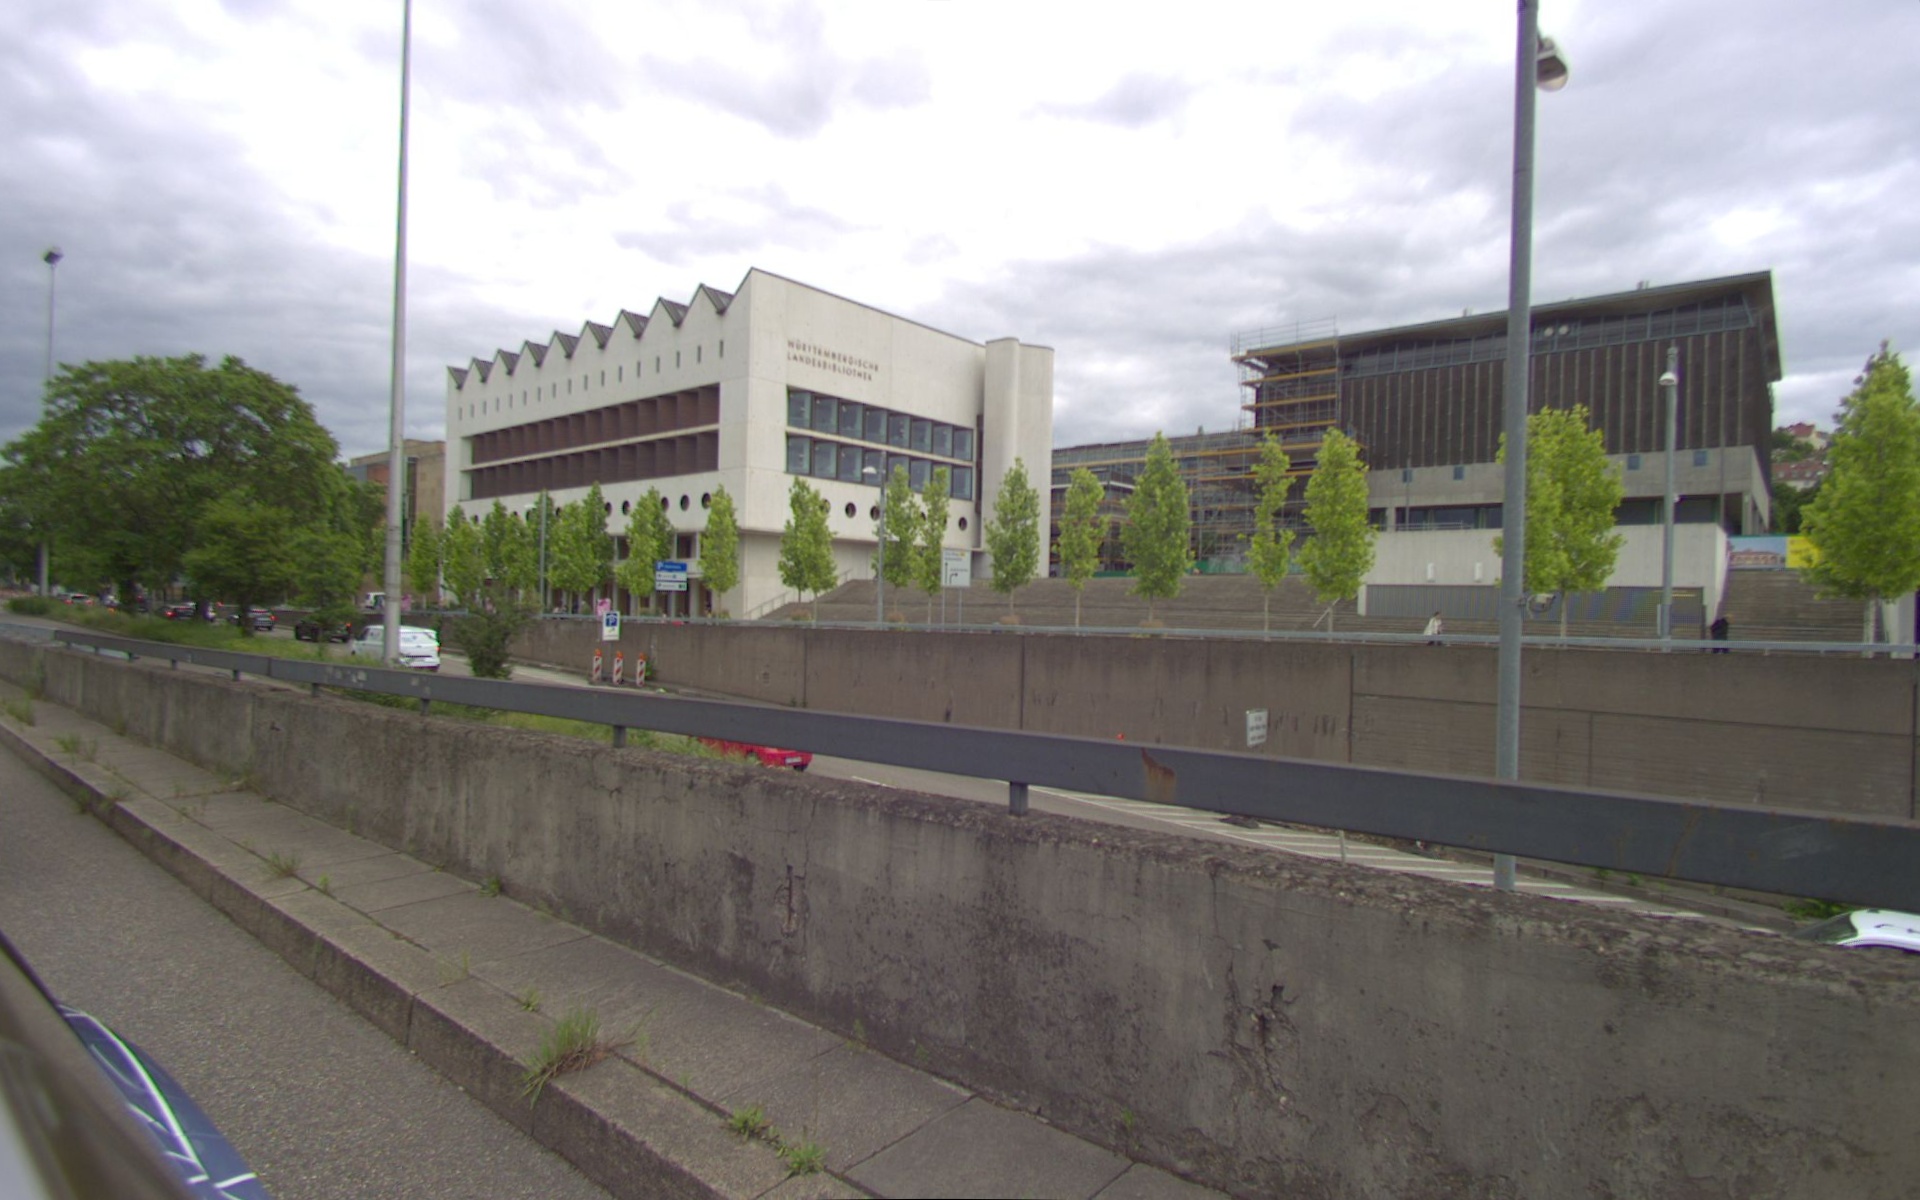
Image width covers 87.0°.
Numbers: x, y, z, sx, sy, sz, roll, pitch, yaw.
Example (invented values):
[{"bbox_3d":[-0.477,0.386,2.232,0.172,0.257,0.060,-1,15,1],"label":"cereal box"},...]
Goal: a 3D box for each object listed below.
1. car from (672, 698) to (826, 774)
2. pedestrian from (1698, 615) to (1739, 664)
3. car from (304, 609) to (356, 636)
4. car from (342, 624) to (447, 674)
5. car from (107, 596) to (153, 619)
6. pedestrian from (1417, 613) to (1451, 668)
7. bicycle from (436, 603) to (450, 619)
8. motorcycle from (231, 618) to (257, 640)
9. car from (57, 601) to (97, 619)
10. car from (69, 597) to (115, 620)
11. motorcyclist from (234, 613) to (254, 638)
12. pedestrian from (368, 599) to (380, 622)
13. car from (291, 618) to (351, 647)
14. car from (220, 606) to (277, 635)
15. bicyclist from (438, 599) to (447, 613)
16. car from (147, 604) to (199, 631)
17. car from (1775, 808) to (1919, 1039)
[{"bbox_3d":[-5.562,3.477,26.430,3.999,1.497,1.972,-1,-2,42],"label":"car"},{"bbox_3d":[25.684,1.334,34.279,0.728,1.655,0.795,0,-2,-21],"label":"pedestrian"},{"bbox_3d":[-44.659,1.587,71.688,3.998,1.776,1.973,0,-3,41],"label":"car"},{"bbox_3d":[-23.935,2.051,42.756,5.246,1.651,1.973,2,-5,40],"label":"car"},{"bbox_3d":[-70.621,0.654,86.123,4.514,1.657,2.133,2,-2,40],"label":"car"},{"bbox_3d":[17.871,1.528,38.170,0.728,2.029,0.795,0,-2,-17],"label":"pedestrian"},{"bbox_3d":[-43.944,0.919,85.965,1.697,1.282,0.398,1,1,39],"label":"bicycle"},{"bbox_3d":[-41.342,1.698,58.421,2.050,1.106,0.678,3,-2,41],"label":"motorcycle"},{"bbox_3d":[-75.494,0.884,86.521,3.998,1.409,1.973,0,-4,41],"label":"car"},{"bbox_3d":[-66.553,0.645,77.575,4.515,1.687,1.973,0,-4,41],"label":"car"},{"bbox_3d":[-41.351,1.456,58.450,0.718,1.362,0.662,3,-3,41],"label":"motorcyclist"},{"bbox_3d":[-52.942,0.939,91.433,1.016,2.029,0.712,1,1,42],"label":"pedestrian"},{"bbox_3d":[-36.741,1.843,58.158,4.004,1.338,1.787,4,0,40],"label":"car"},{"bbox_3d":[-46.660,1.330,66.328,4.386,1.624,1.852,4,0,38],"label":"car"},{"bbox_3d":[-43.962,0.528,85.973,0.643,1.169,0.398,1,1,39],"label":"bicyclist"},{"bbox_3d":[-51.034,1.119,65.591,4.144,1.500,1.757,3,0,40],"label":"car"},{"bbox_3d":[12.118,3.728,10.880,5.115,2.029,2.194,-1,-2,42],"label":"car"}]
